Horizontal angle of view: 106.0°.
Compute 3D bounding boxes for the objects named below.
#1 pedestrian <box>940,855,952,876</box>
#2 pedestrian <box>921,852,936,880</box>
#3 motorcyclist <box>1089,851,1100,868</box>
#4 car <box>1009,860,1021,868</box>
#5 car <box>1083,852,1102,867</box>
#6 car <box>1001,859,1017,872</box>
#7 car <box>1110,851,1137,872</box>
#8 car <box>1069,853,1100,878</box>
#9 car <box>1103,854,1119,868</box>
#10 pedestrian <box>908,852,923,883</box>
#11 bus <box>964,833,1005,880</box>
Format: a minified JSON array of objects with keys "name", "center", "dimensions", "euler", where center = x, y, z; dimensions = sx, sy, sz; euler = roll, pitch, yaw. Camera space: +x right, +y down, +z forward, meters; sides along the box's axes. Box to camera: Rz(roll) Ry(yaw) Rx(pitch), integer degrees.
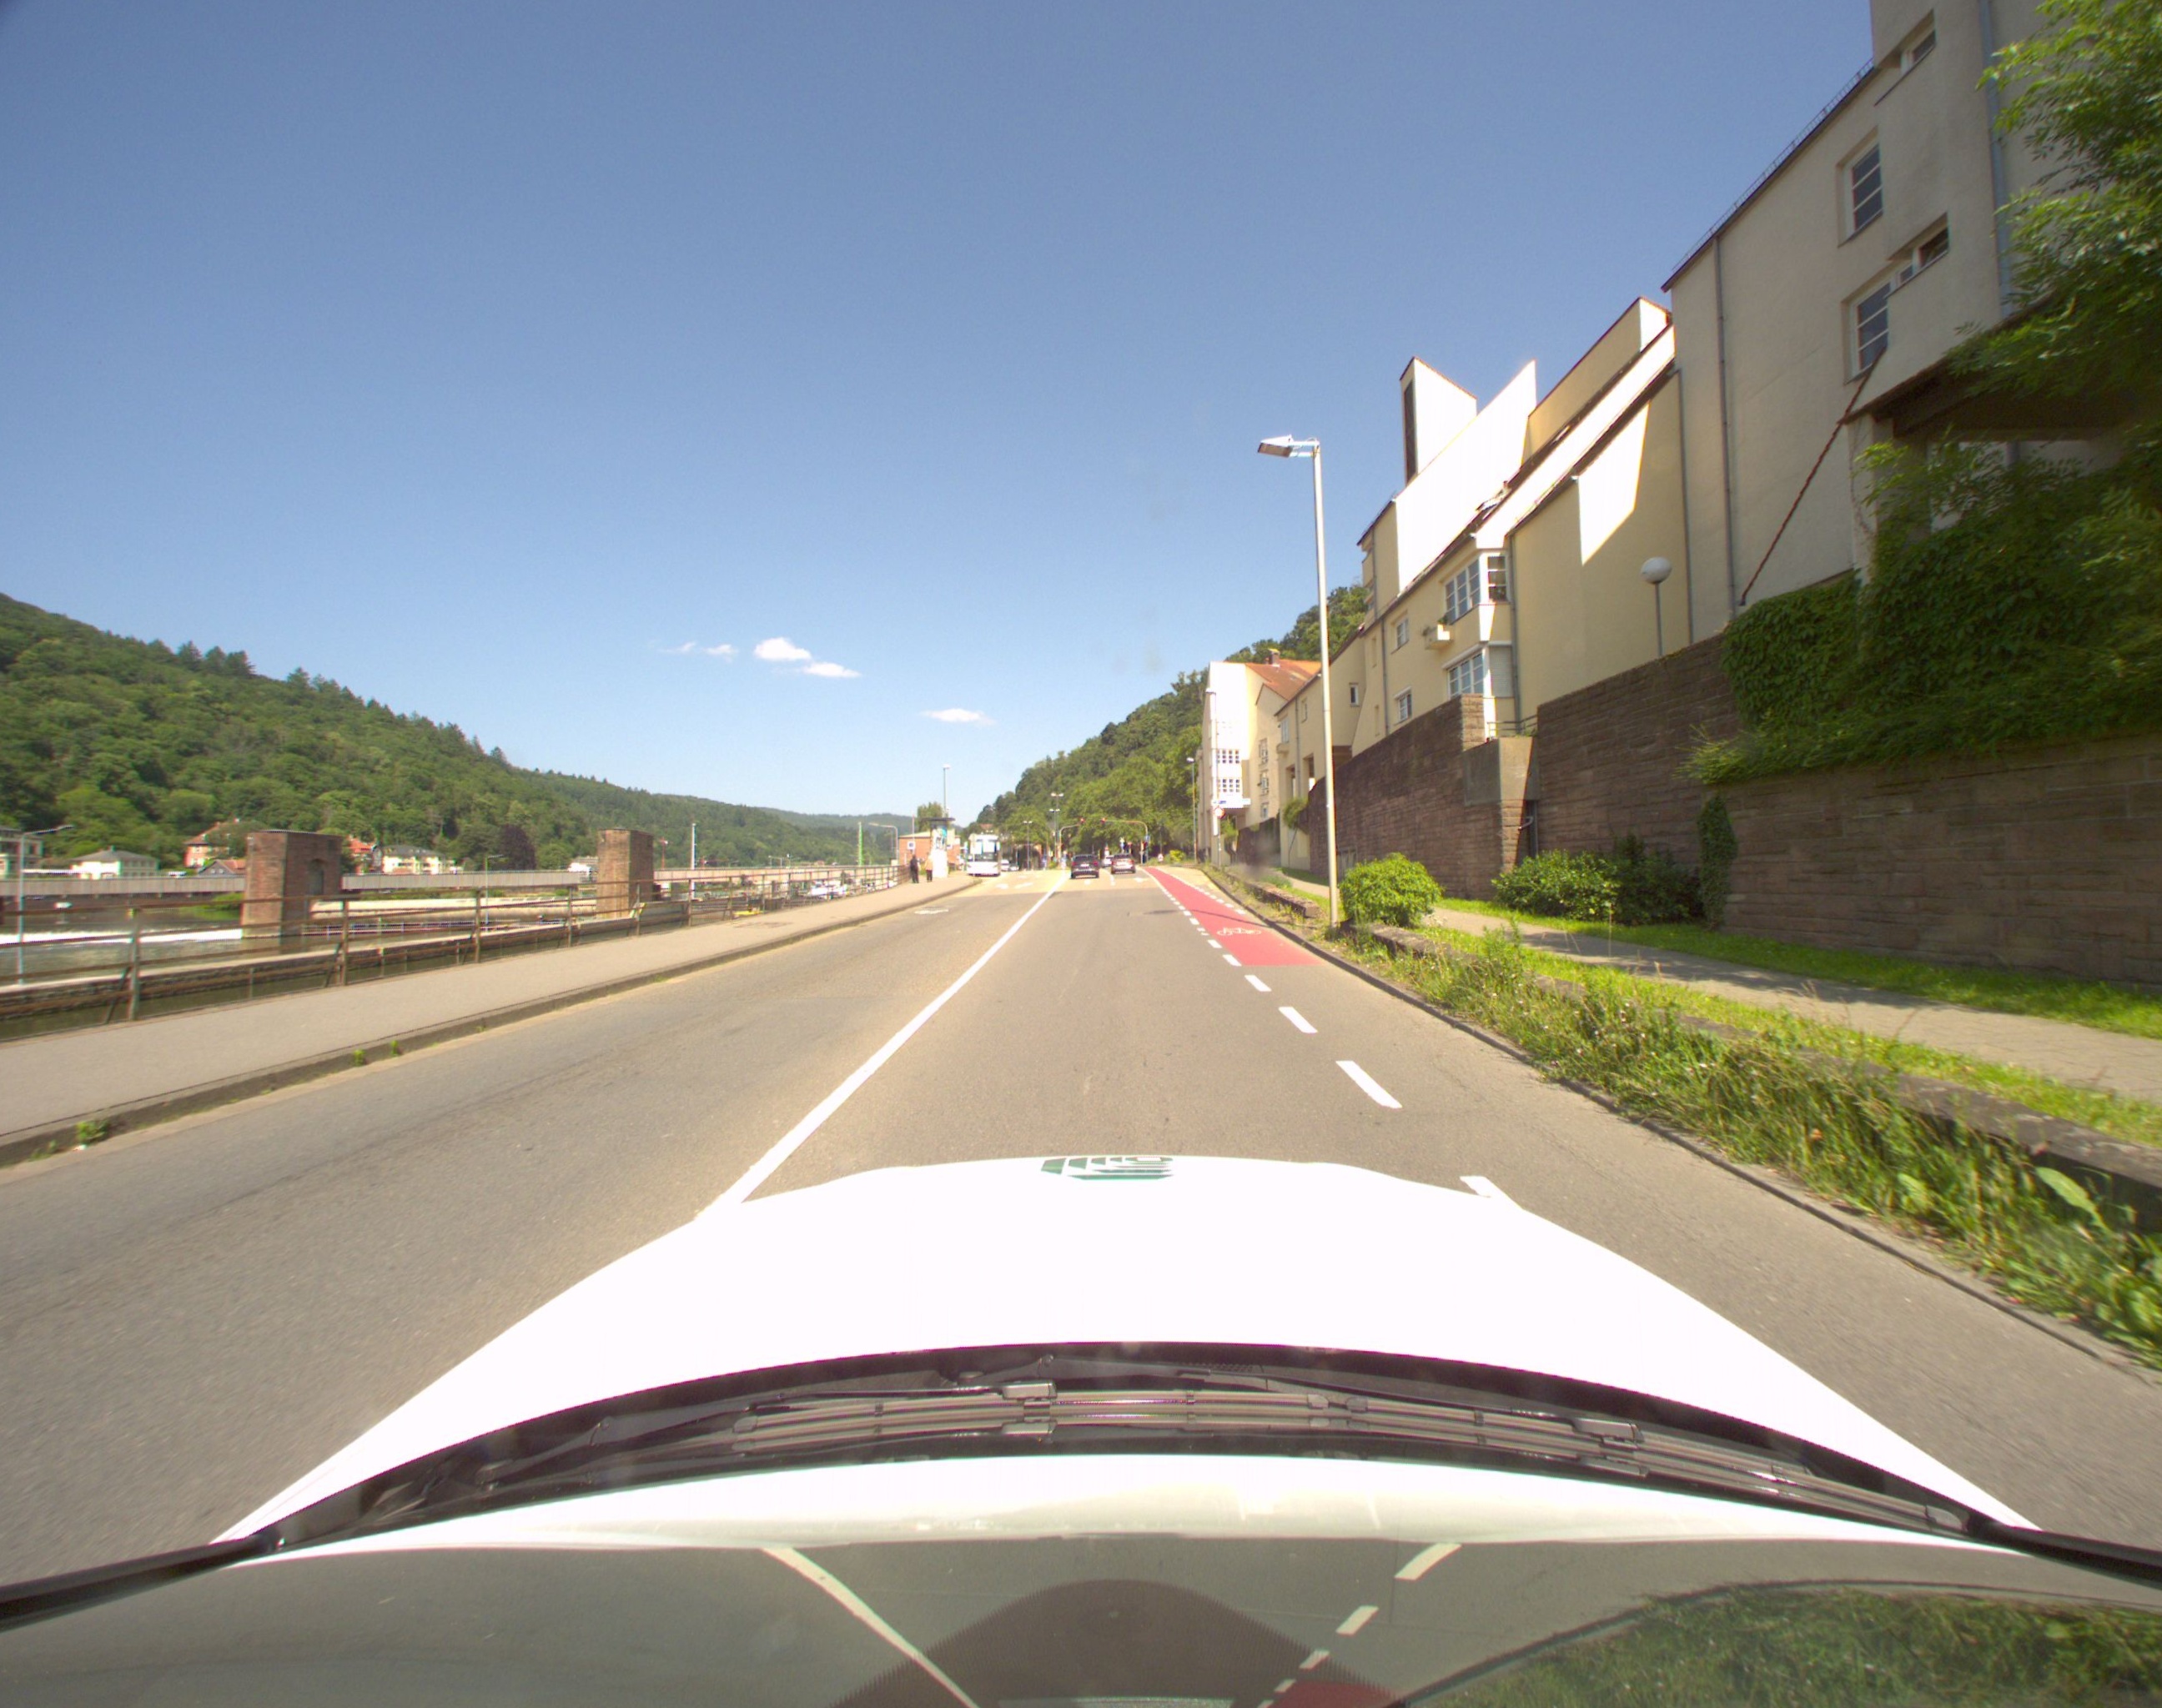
[{"name":"pedestrian","center":[-11.552,0.983,69.846],"dimensions":[0.891,1.796,1.039],"euler":[-1,-1,-5]},{"name":"pedestrian","center":[-9.029,0.692,48.199],"dimensions":[0.701,1.621,0.816],"euler":[-1,-1,-2]},{"name":"motorcyclist","center":[1.372,0.566,84.926],"dimensions":[1.072,1.684,1.156],"euler":[-3,0,0]},{"name":"car","center":[-12.580,1.960,155.135],"dimensions":[1.991,1.432,4.159],"euler":[-3,0,-5]},{"name":"car","center":[1.255,0.637,90.634],"dimensions":[1.861,1.562,3.997],"euler":[-2,0,-2]},{"name":"car","center":[-15.557,2.480,175.487],"dimensions":[2.386,2.576,6.027],"euler":[-3,0,-13]},{"name":"car","center":[3.131,0.563,61.284],"dimensions":[1.882,1.521,4.306],"euler":[-1,-1,1]},{"name":"car","center":[0.248,0.721,52.073],"dimensions":[1.862,1.514,4.151],"euler":[-1,-1,1]},{"name":"car","center":[3.633,0.885,99.037],"dimensions":[1.780,1.532,4.735],"euler":[-3,-1,0]},{"name":"pedestrian","center":[-9.455,0.765,46.621],"dimensions":[0.681,1.709,0.773],"euler":[-2,-1,-1]},{"name":"bus","center":[-8.581,0.270,73.790],"dimensions":[2.951,3.801,13.223],"euler":[-1,-1,-4]}]
